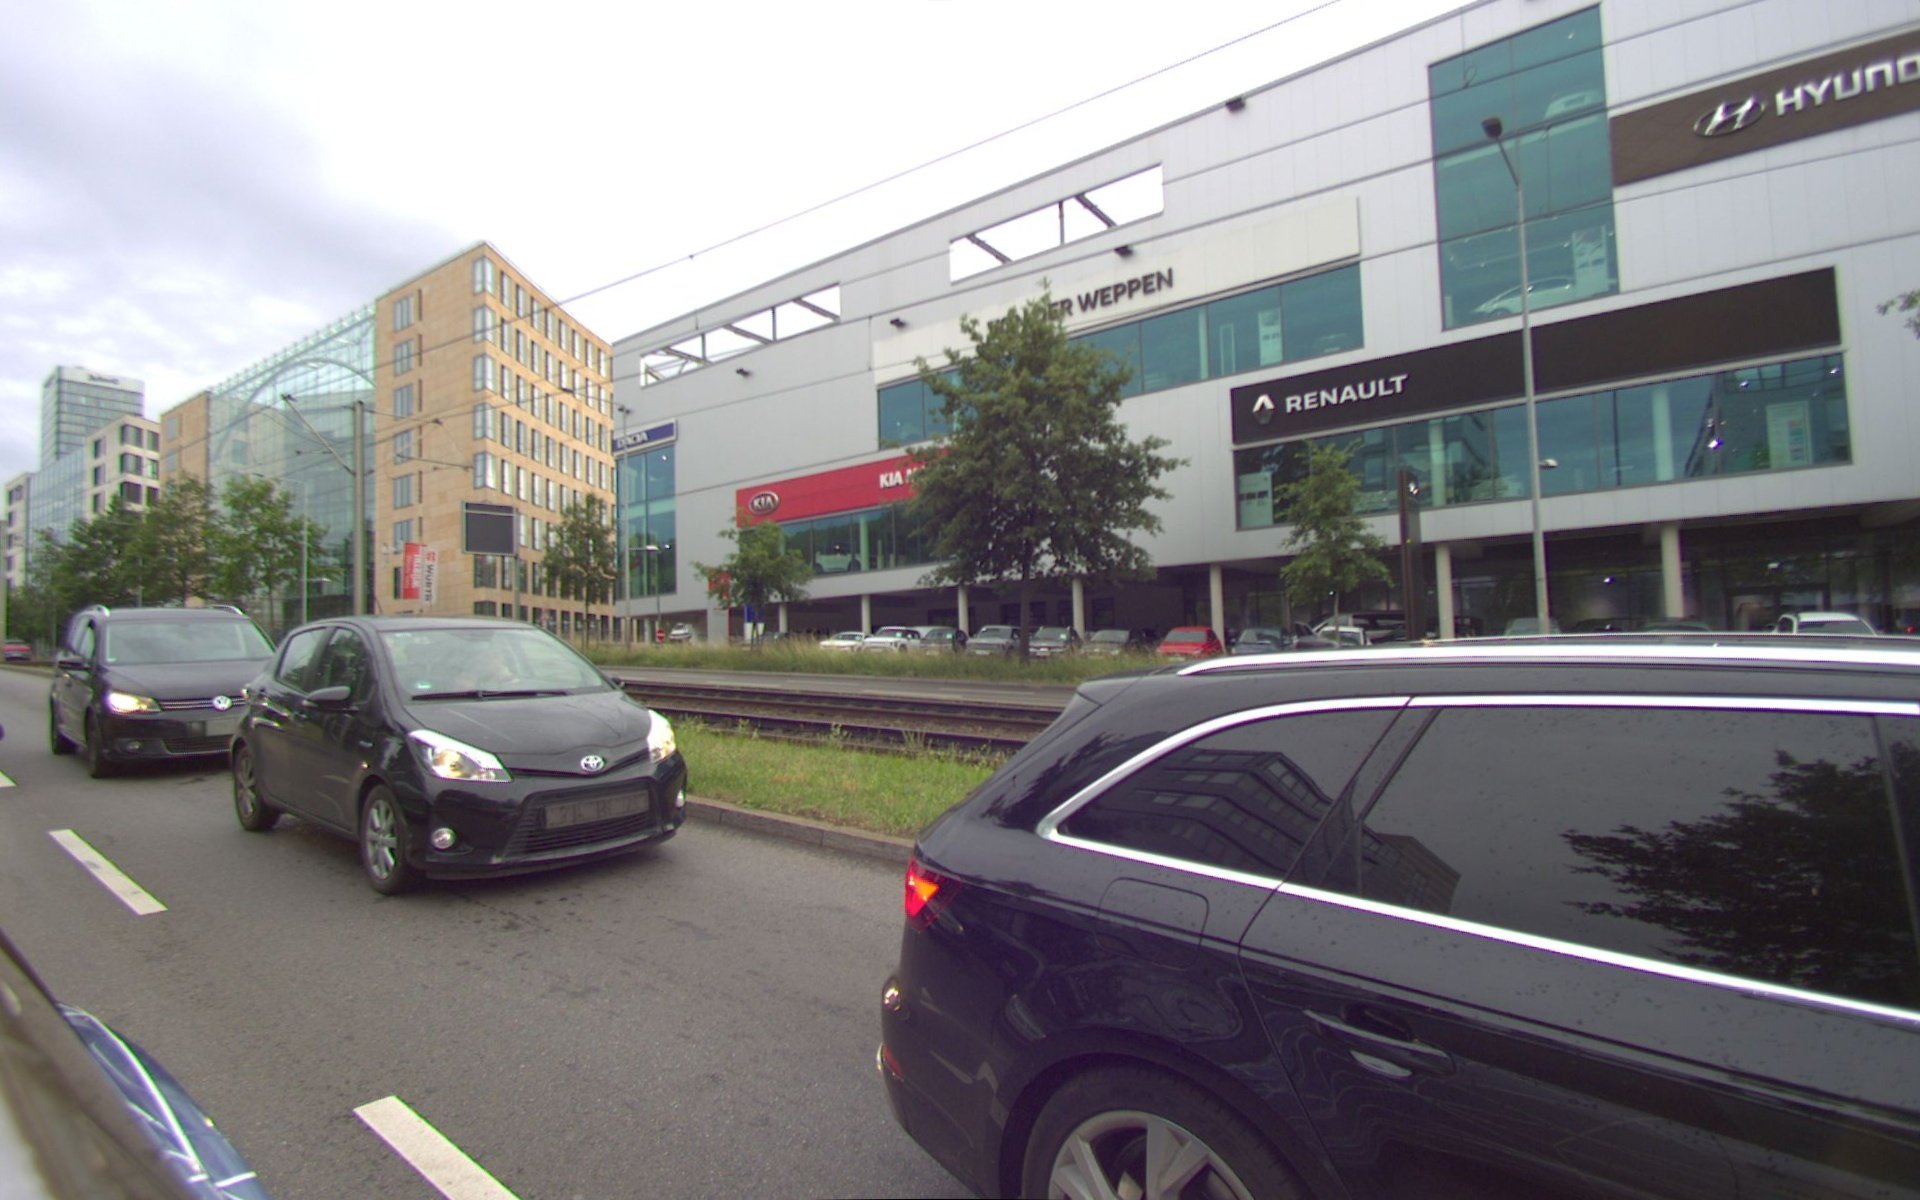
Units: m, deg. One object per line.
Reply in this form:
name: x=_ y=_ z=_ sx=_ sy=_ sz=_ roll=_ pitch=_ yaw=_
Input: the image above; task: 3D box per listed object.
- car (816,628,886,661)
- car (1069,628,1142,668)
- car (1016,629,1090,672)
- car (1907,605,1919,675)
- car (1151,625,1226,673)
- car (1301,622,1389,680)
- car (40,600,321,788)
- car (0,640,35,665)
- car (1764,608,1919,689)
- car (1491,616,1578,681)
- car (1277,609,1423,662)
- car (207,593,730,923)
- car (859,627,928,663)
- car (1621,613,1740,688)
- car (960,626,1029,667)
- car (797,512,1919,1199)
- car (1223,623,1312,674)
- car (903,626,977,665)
car: x=-4.765 y=1.949 z=44.639 sx=1.685 sy=1.196 sz=3.643 roll=-2 pitch=1 yaw=18
car: x=5.265 y=1.694 z=36.323 sx=1.689 sy=1.190 sz=3.498 roll=-2 pitch=1 yaw=24
car: x=3.517 y=1.846 z=37.783 sx=1.689 sy=1.362 sz=3.498 roll=-2 pitch=1 yaw=24
car: x=22.856 y=0.978 z=22.257 sx=1.992 sy=1.627 sz=4.331 roll=-1 pitch=1 yaw=30
car: x=7.832 y=1.624 z=34.445 sx=1.789 sy=1.362 sz=3.903 roll=-2 pitch=1 yaw=24
car: x=11.968 y=1.524 z=31.344 sx=1.914 sy=1.470 sz=4.005 roll=-1 pitch=1 yaw=30
car: x=-8.486 y=0.855 z=10.871 sx=4.318 sy=1.619 sz=1.762 roll=-2 pitch=-1 yaw=44
car: x=-68.433 y=3.760 z=72.745 sx=4.832 sy=1.733 sz=1.975 roll=-2 pitch=-4 yaw=37
car: x=20.613 y=1.056 z=23.807 sx=1.992 sy=1.562 sz=4.331 roll=-1 pitch=1 yaw=30
car: x=15.875 y=1.279 z=27.969 sx=1.925 sy=1.470 sz=3.981 roll=-1 pitch=1 yaw=30
car: x=13.976 y=1.261 z=36.496 sx=4.488 sy=1.796 sz=1.997 roll=-1 pitch=-1 yaw=5
car: x=-3.376 y=0.782 z=6.640 sx=3.823 sy=1.544 sz=1.683 roll=-1 pitch=-1 yaw=40
car: x=-2.775 y=1.879 z=42.963 sx=1.685 sy=1.304 sz=3.643 roll=-2 pitch=1 yaw=18
car: x=18.074 y=1.203 z=25.583 sx=1.992 sy=1.562 sz=4.331 roll=-1 pitch=1 yaw=30
car: x=1.395 y=1.803 z=39.713 sx=1.686 sy=1.362 sz=3.503 roll=-2 pitch=1 yaw=20
car: x=1.901 y=0.640 z=1.491 sx=4.511 sy=1.478 sz=1.762 roll=-2 pitch=-2 yaw=41
car: x=10.094 y=1.548 z=33.041 sx=1.914 sy=1.362 sz=4.005 roll=-1 pitch=1 yaw=30
car: x=-0.768 y=1.823 z=41.032 sx=1.688 sy=1.362 sz=3.499 roll=-2 pitch=1 yaw=23
